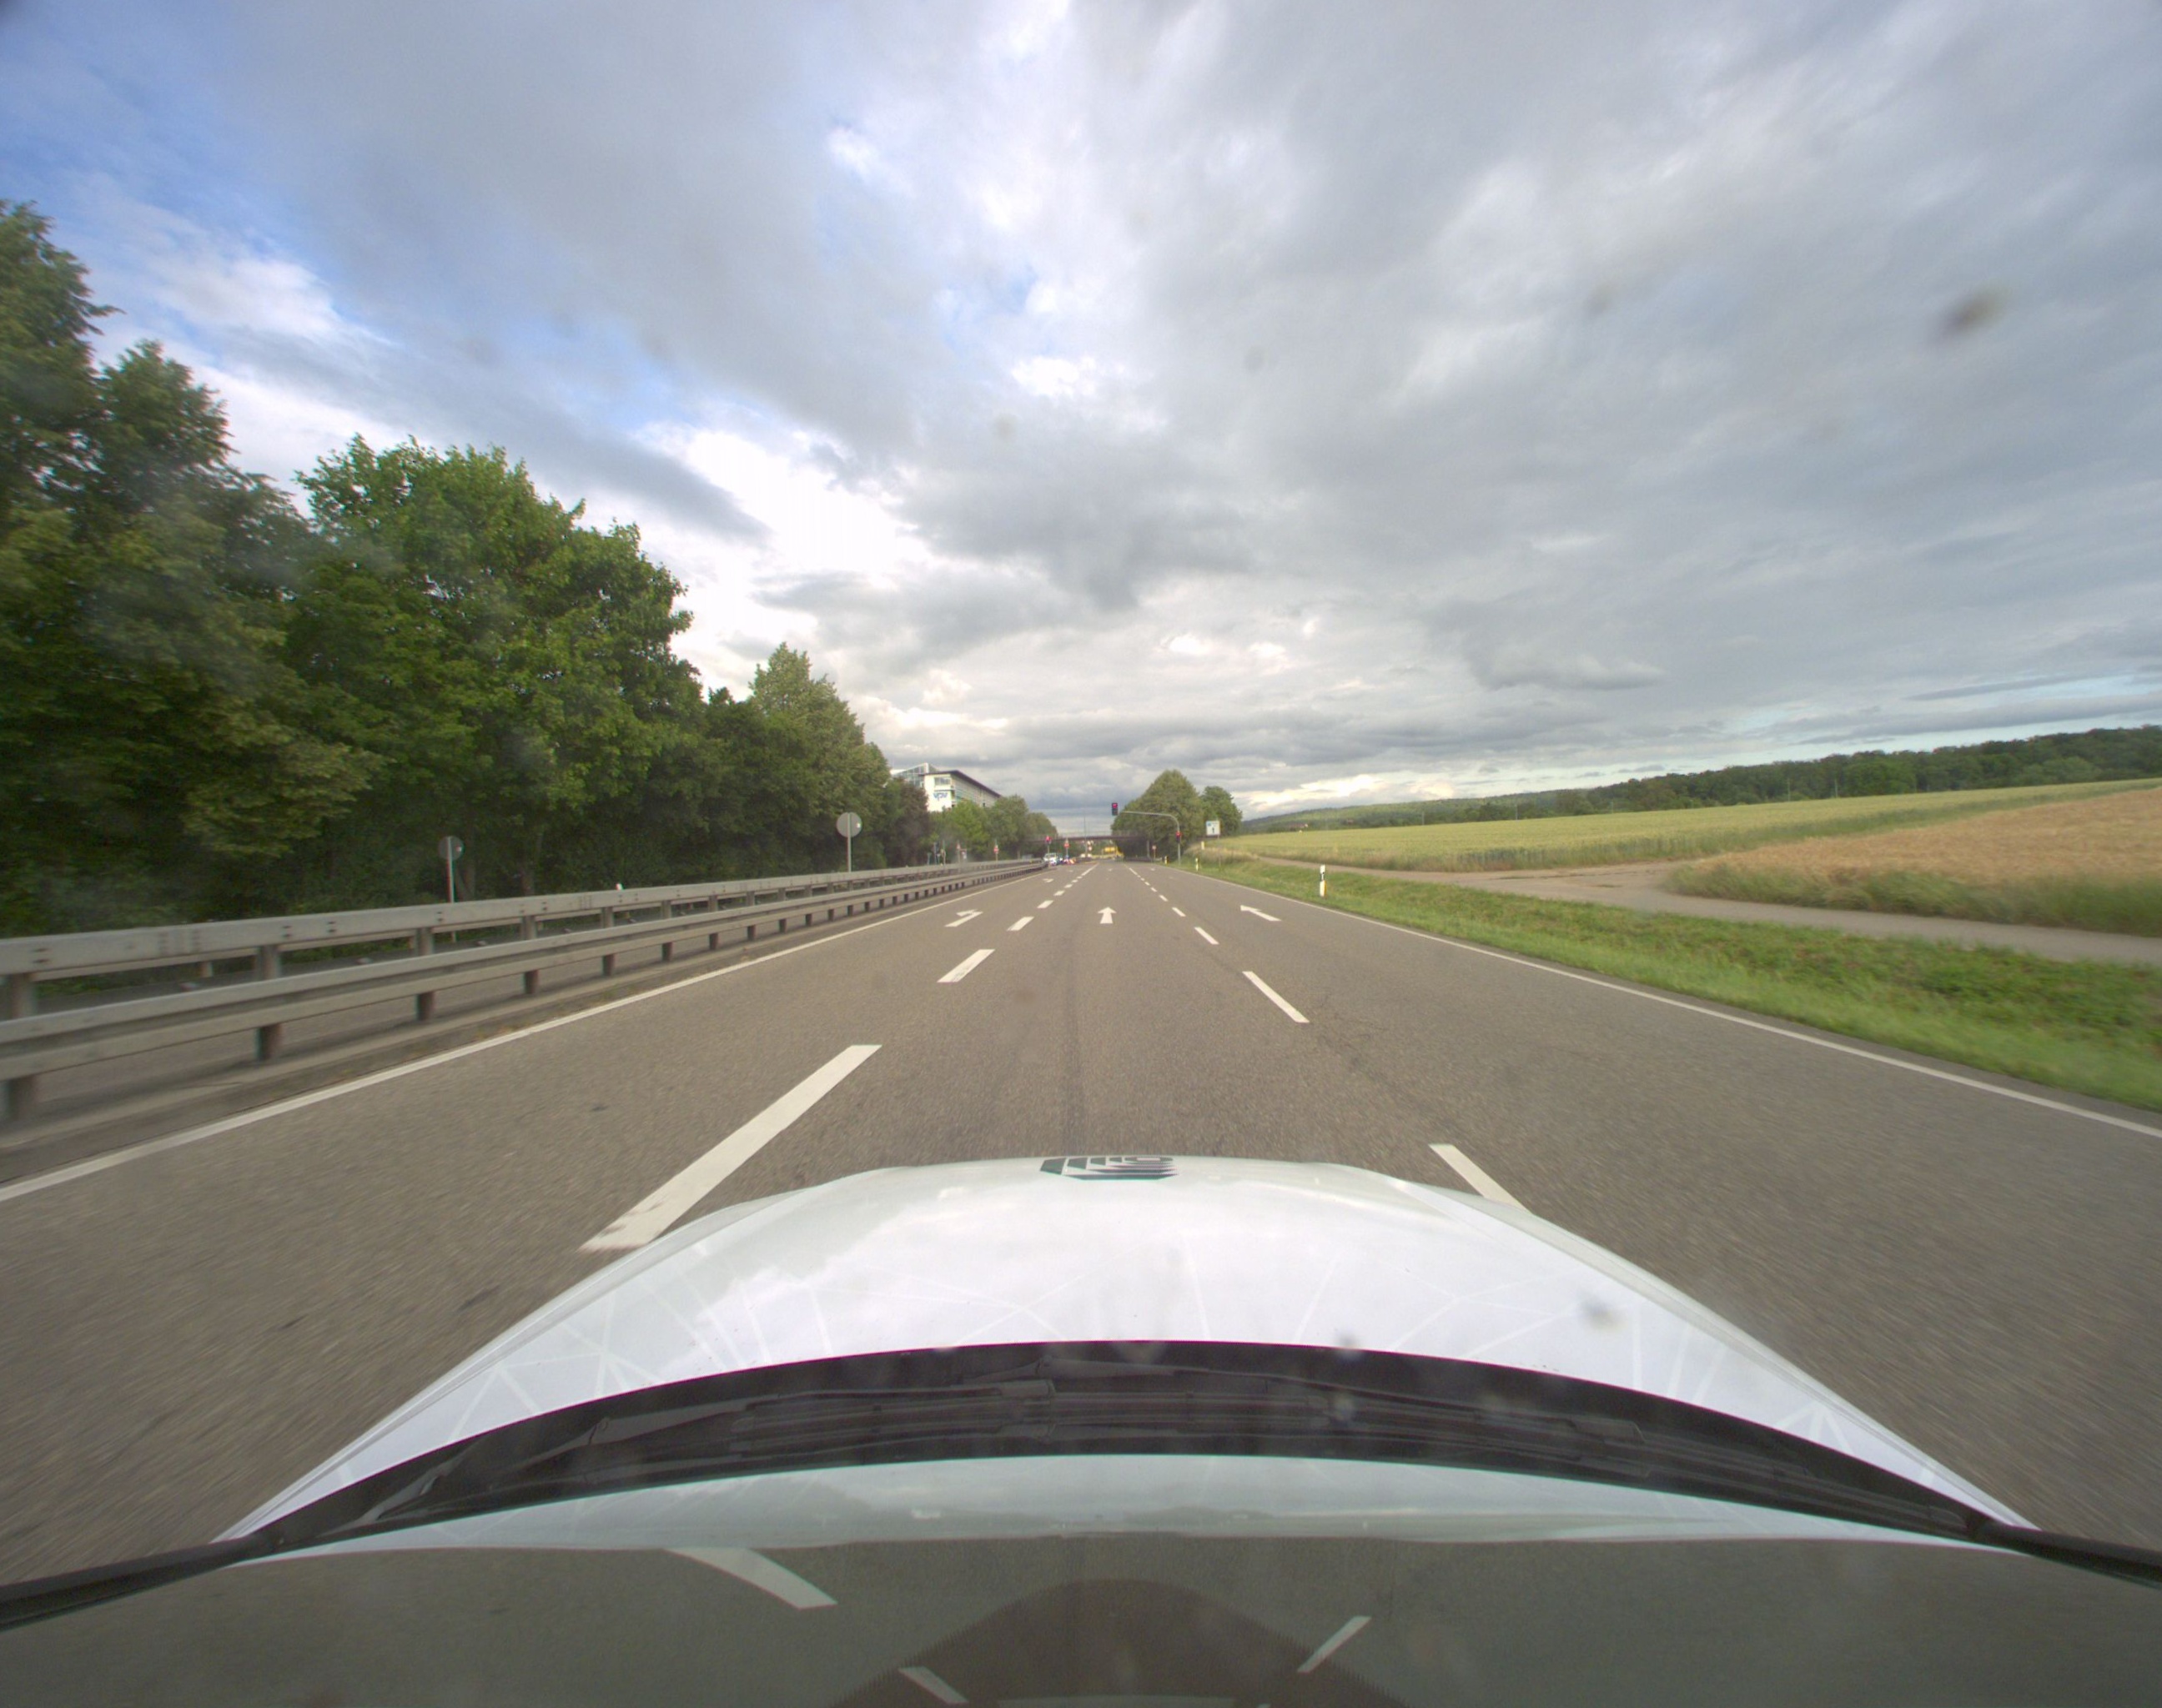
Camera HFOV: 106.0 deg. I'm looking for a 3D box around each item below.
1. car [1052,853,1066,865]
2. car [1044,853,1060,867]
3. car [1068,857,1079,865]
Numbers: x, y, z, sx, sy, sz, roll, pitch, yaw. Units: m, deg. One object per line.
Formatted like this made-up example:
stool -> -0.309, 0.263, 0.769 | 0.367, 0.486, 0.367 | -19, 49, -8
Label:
car -> -3.581, 0.801, 132.671 | 1.986, 1.873, 4.739 | -2, 0, 2
car -> -4.286, 0.904, 121.361 | 1.941, 1.873, 4.739 | -2, 0, 2
car -> -1.106, 1.055, 119.273 | 1.352, 1.092, 2.924 | -2, 0, 3
